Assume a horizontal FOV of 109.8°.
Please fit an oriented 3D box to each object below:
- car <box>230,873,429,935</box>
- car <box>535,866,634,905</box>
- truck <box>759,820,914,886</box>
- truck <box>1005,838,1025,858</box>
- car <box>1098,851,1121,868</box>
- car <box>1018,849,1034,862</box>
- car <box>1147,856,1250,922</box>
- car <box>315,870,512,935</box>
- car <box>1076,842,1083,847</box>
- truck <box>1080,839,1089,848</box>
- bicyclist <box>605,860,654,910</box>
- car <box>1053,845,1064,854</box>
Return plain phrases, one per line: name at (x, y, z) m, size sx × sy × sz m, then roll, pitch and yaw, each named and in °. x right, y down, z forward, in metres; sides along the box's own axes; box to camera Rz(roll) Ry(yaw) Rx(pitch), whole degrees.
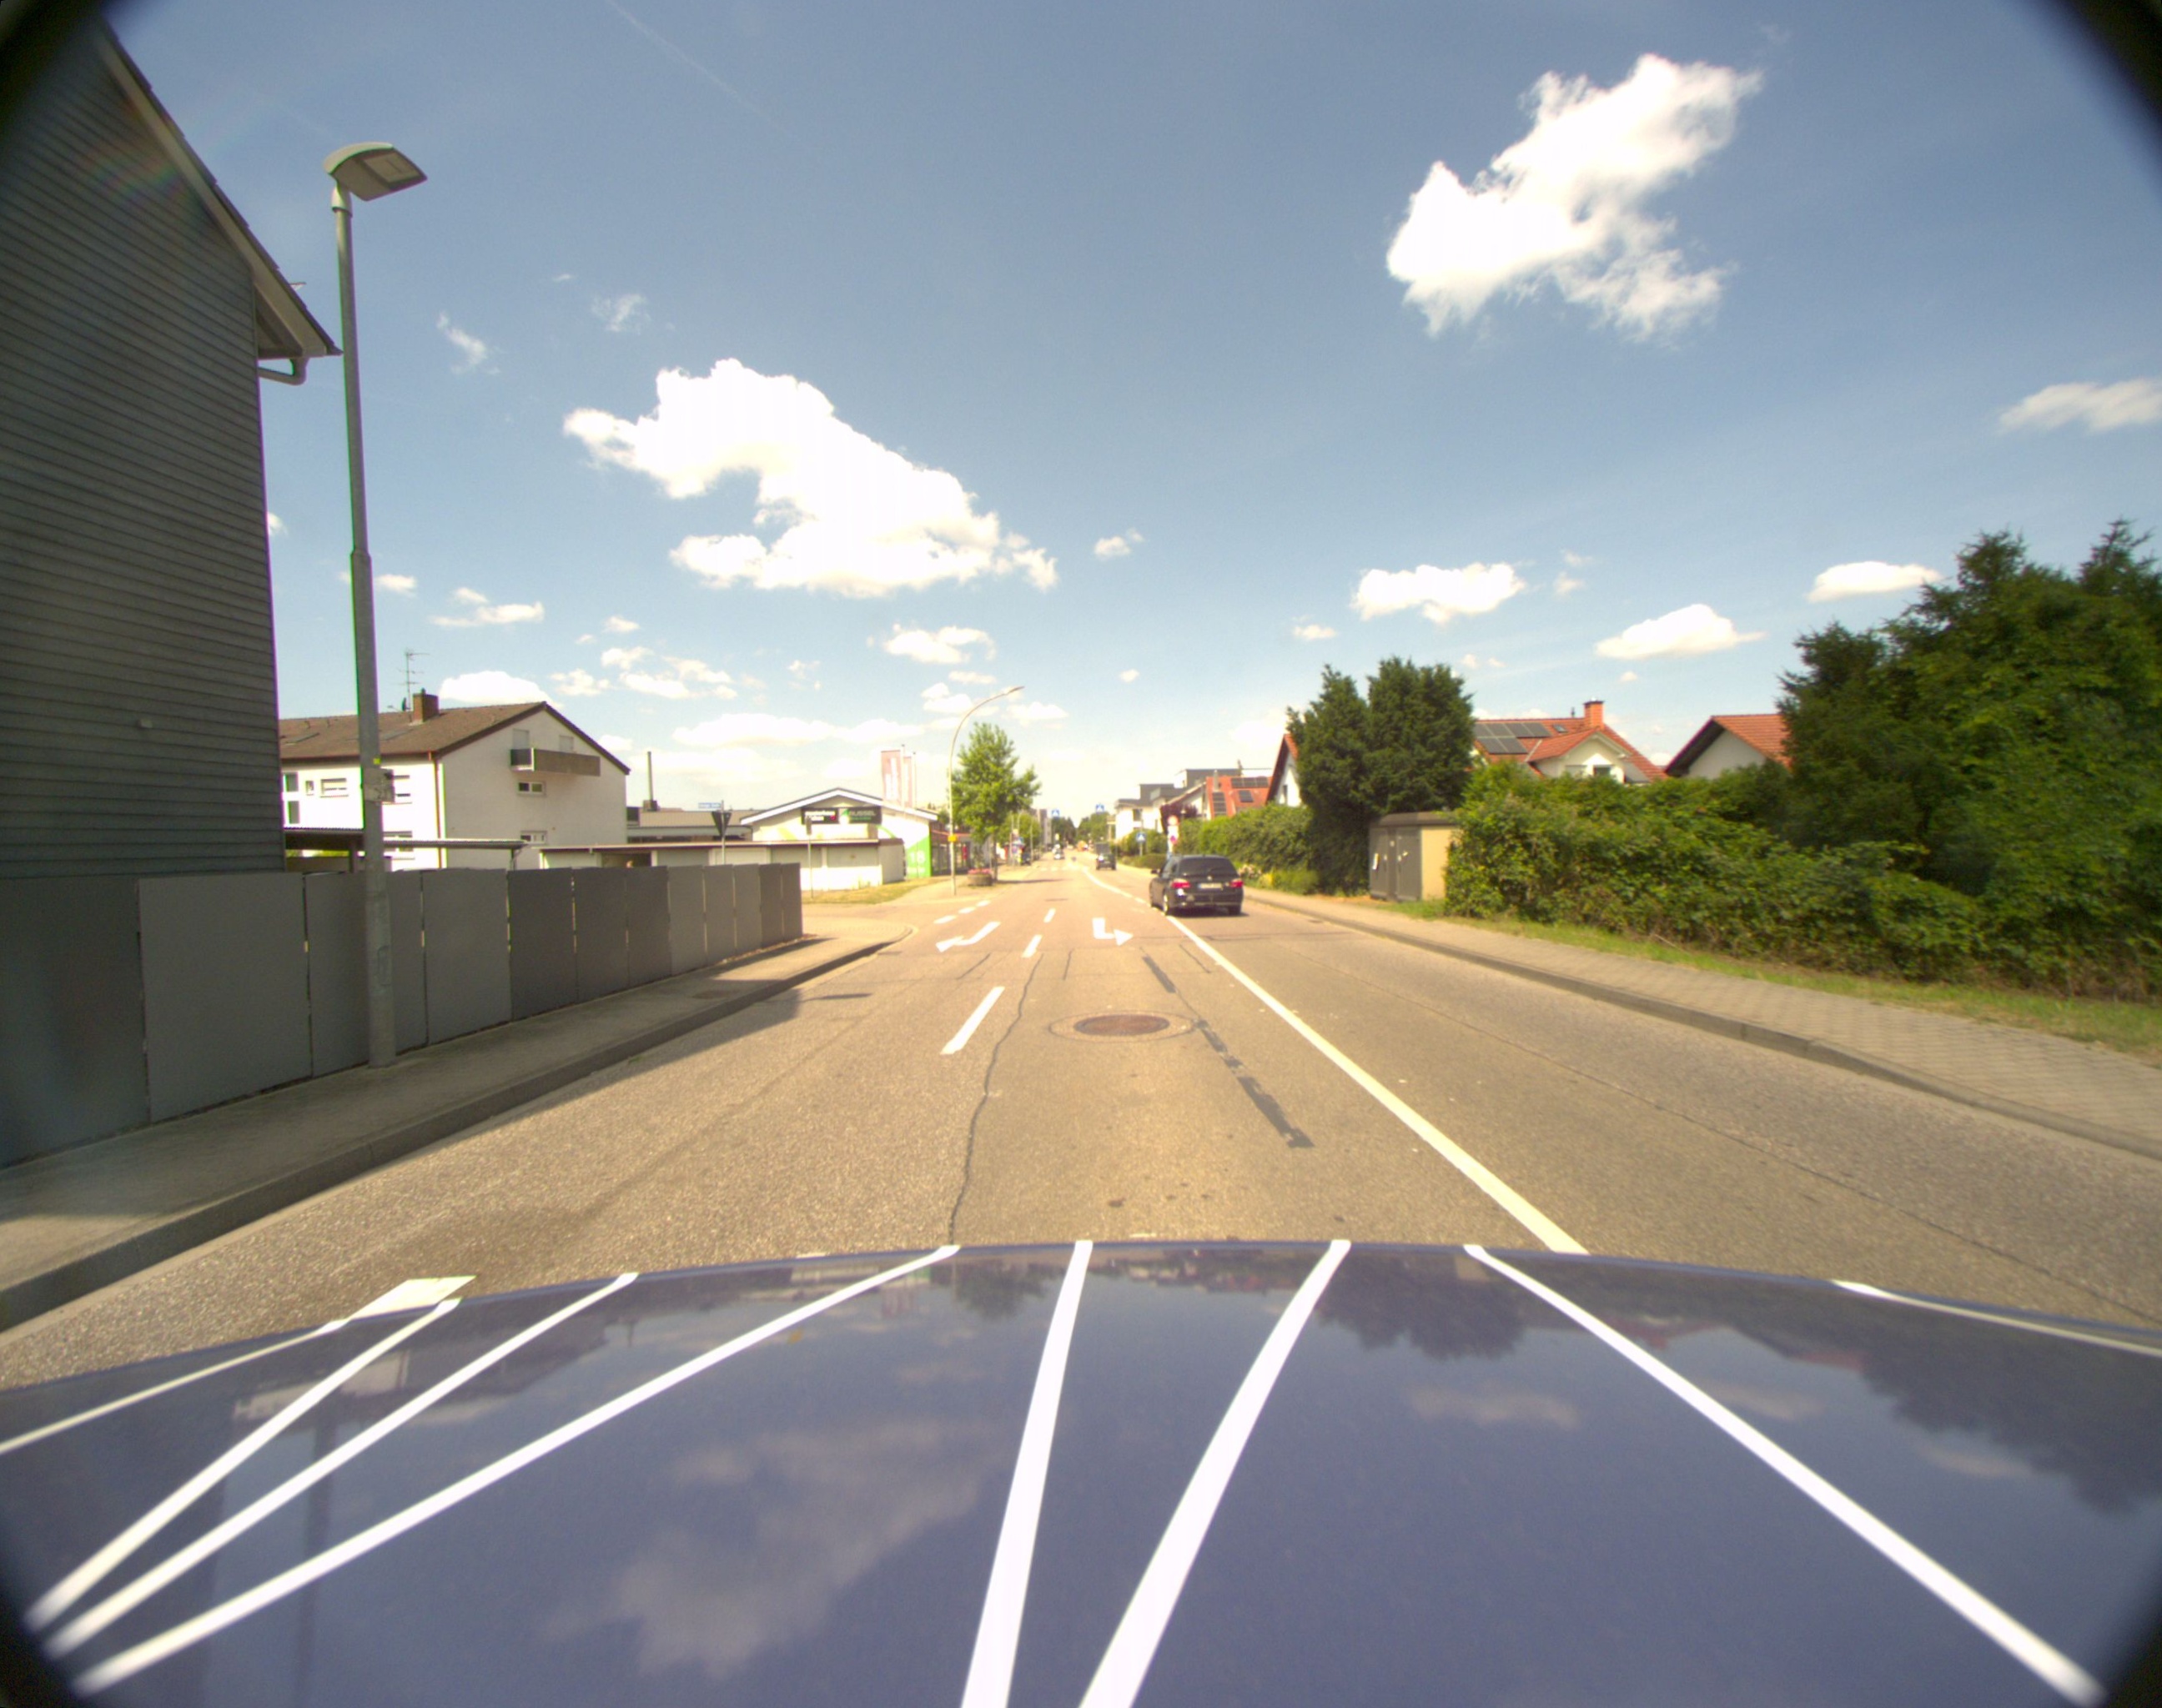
car at (-21.039, 1.332, 21.524) m, size 1.741 × 1.577 × 3.854 m, roll -1°, pitch -1°, yaw 2°
car at (-22.254, 1.359, 34.256) m, size 1.679 × 1.494 × 4.131 m, roll -2°, pitch 1°, yaw 0°
truck at (-14.429, -0.097, 45.260) m, size 8.192 × 3.553 × 2.676 m, roll -2°, pitch 2°, yaw -2°
truck at (-9.167, -0.823, 104.803) m, size 2.580 × 2.746 × 6.329 m, roll 0°, pitch 1°, yaw -7°
car at (2.386, 0.457, 64.629) m, size 1.785 × 1.425 × 3.871 m, roll 0°, pitch 0°, yaw -1°
car at (-6.528, 0.194, 89.885) m, size 1.729 × 1.484 × 3.758 m, roll 0°, pitch 1°, yaw -2°
car at (2.869, 0.795, 19.541) m, size 1.868 × 1.434 × 4.670 m, roll 0°, pitch 1°, yaw -1°
car at (-18.558, 1.284, 21.433) m, size 1.741 × 1.638 × 4.217 m, roll -1°, pitch -1°, yaw 2°
car at (-0.403, -2.694, 226.501) m, size 1.799 × 1.480 × 3.613 m, roll 0°, pitch 1°, yaw 1°
truck at (1.116, -3.308, 239.735) m, size 2.864 × 2.695 × 6.791 m, roll 0°, pitch 1°, yaw 2°
bicyclist at (-15.170, 1.022, 25.545) m, size 1.111 × 1.620 × 0.805 m, roll -2°, pitch 1°, yaw -2°
car at (-3.715, -0.811, 126.941) m, size 1.729 × 1.484 × 3.759 m, roll 0°, pitch 1°, yaw -1°
